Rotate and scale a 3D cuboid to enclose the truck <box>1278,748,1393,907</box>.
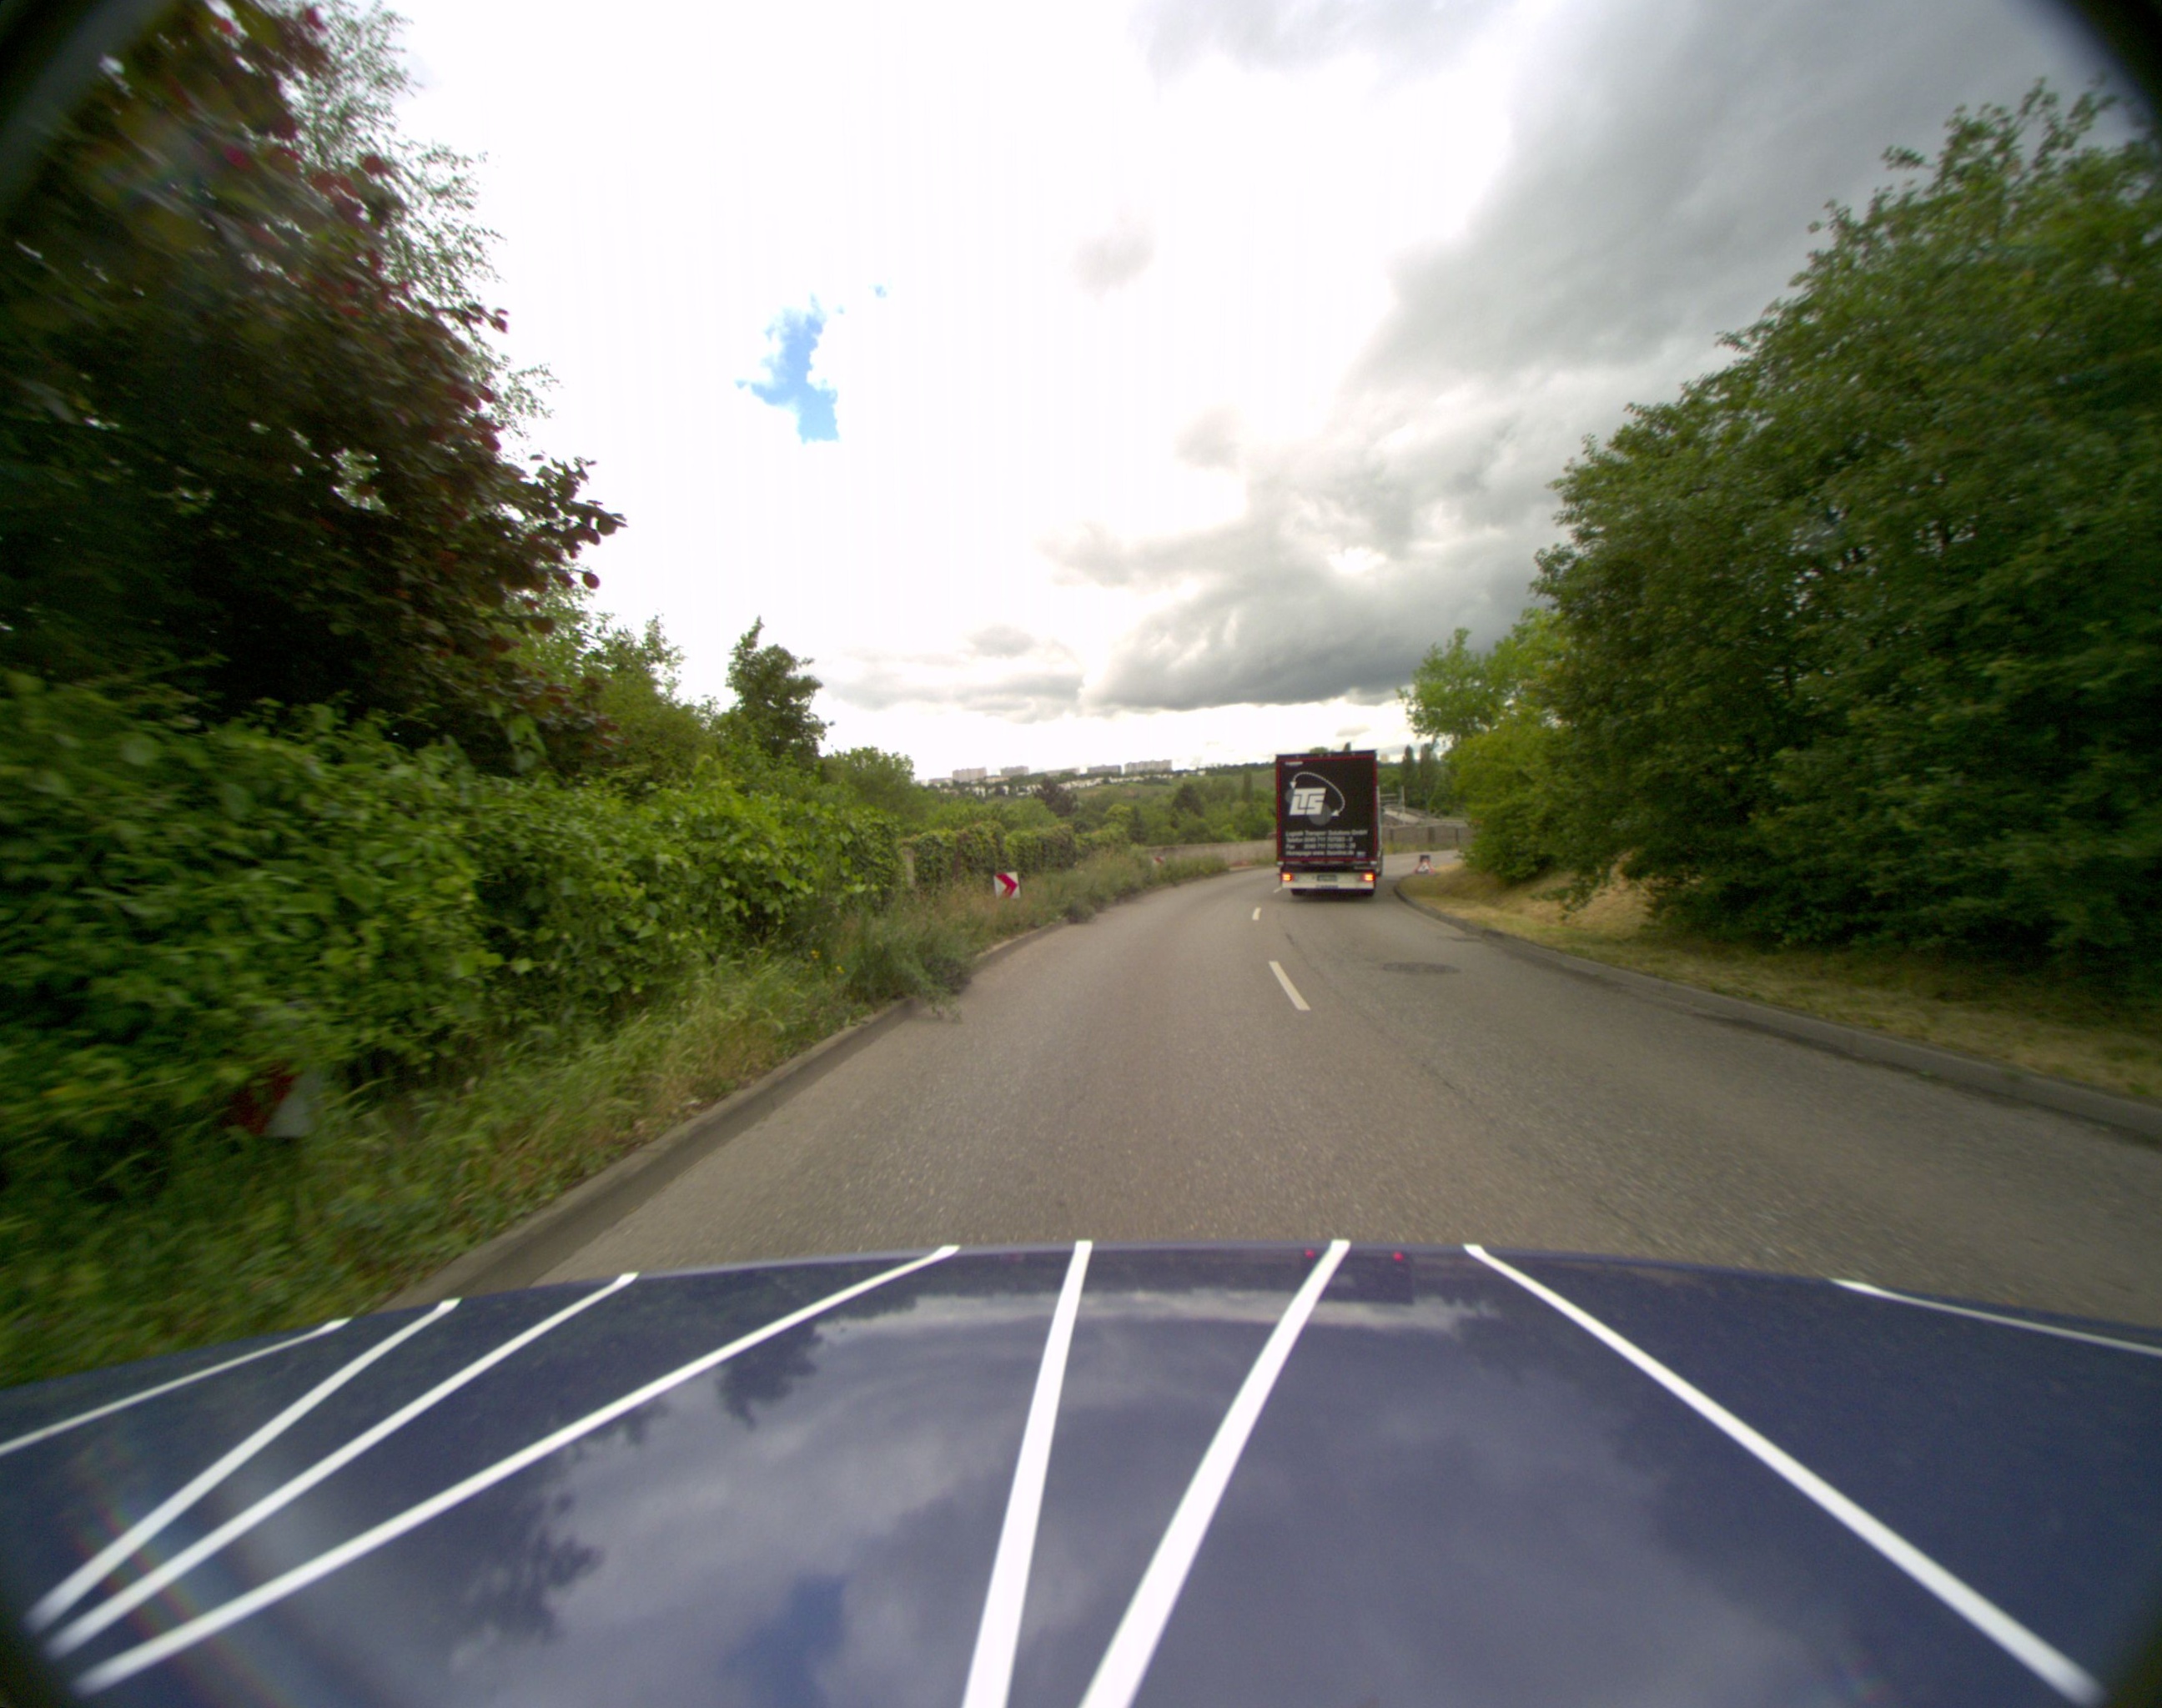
[{"bbox_3d":[8.925,-0.837,25.725,2.707,3.928,13.852,1,2,21],"label":"truck"}]

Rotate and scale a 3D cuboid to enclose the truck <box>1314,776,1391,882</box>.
[{"bbox_3d":[11.392,-1.048,31.714,2.707,3.928,6.337,1,2,21],"label":"truck"}]
